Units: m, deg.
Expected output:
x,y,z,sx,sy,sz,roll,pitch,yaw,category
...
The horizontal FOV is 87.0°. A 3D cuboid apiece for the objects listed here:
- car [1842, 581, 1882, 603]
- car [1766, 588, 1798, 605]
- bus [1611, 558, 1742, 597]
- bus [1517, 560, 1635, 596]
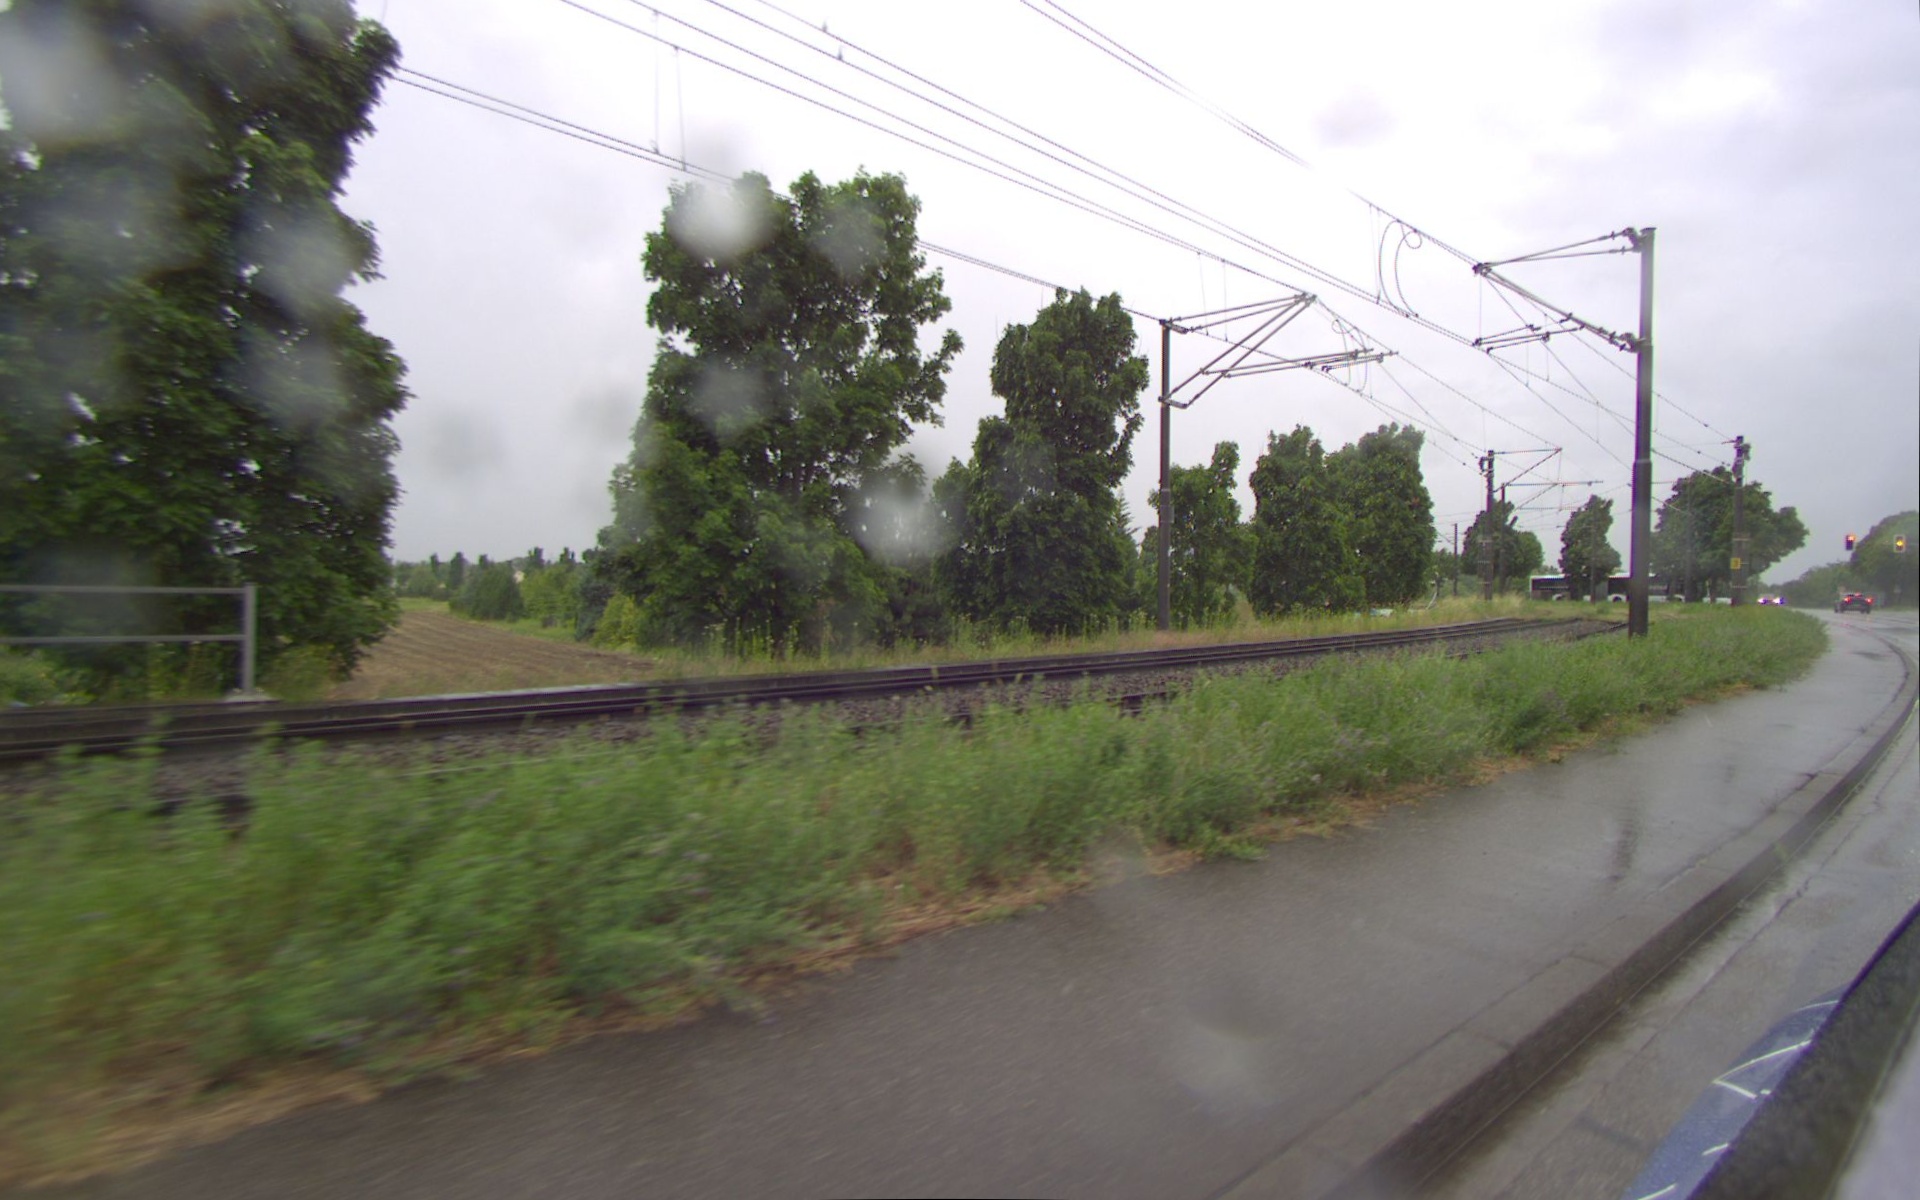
x,y,z,sx,sy,sz,roll,pitch,yaw,category
68.317,-0.629,76.669,1.756,1.556,3.828,2,2,35,car
96.609,-0.424,118.937,3.924,2.039,1.922,-1,1,-35,car
59.942,-1.838,85.106,2.623,3.116,10.012,0,1,-10,bus
57.347,-2.012,94.672,2.622,3.116,10.016,0,1,-20,bus
